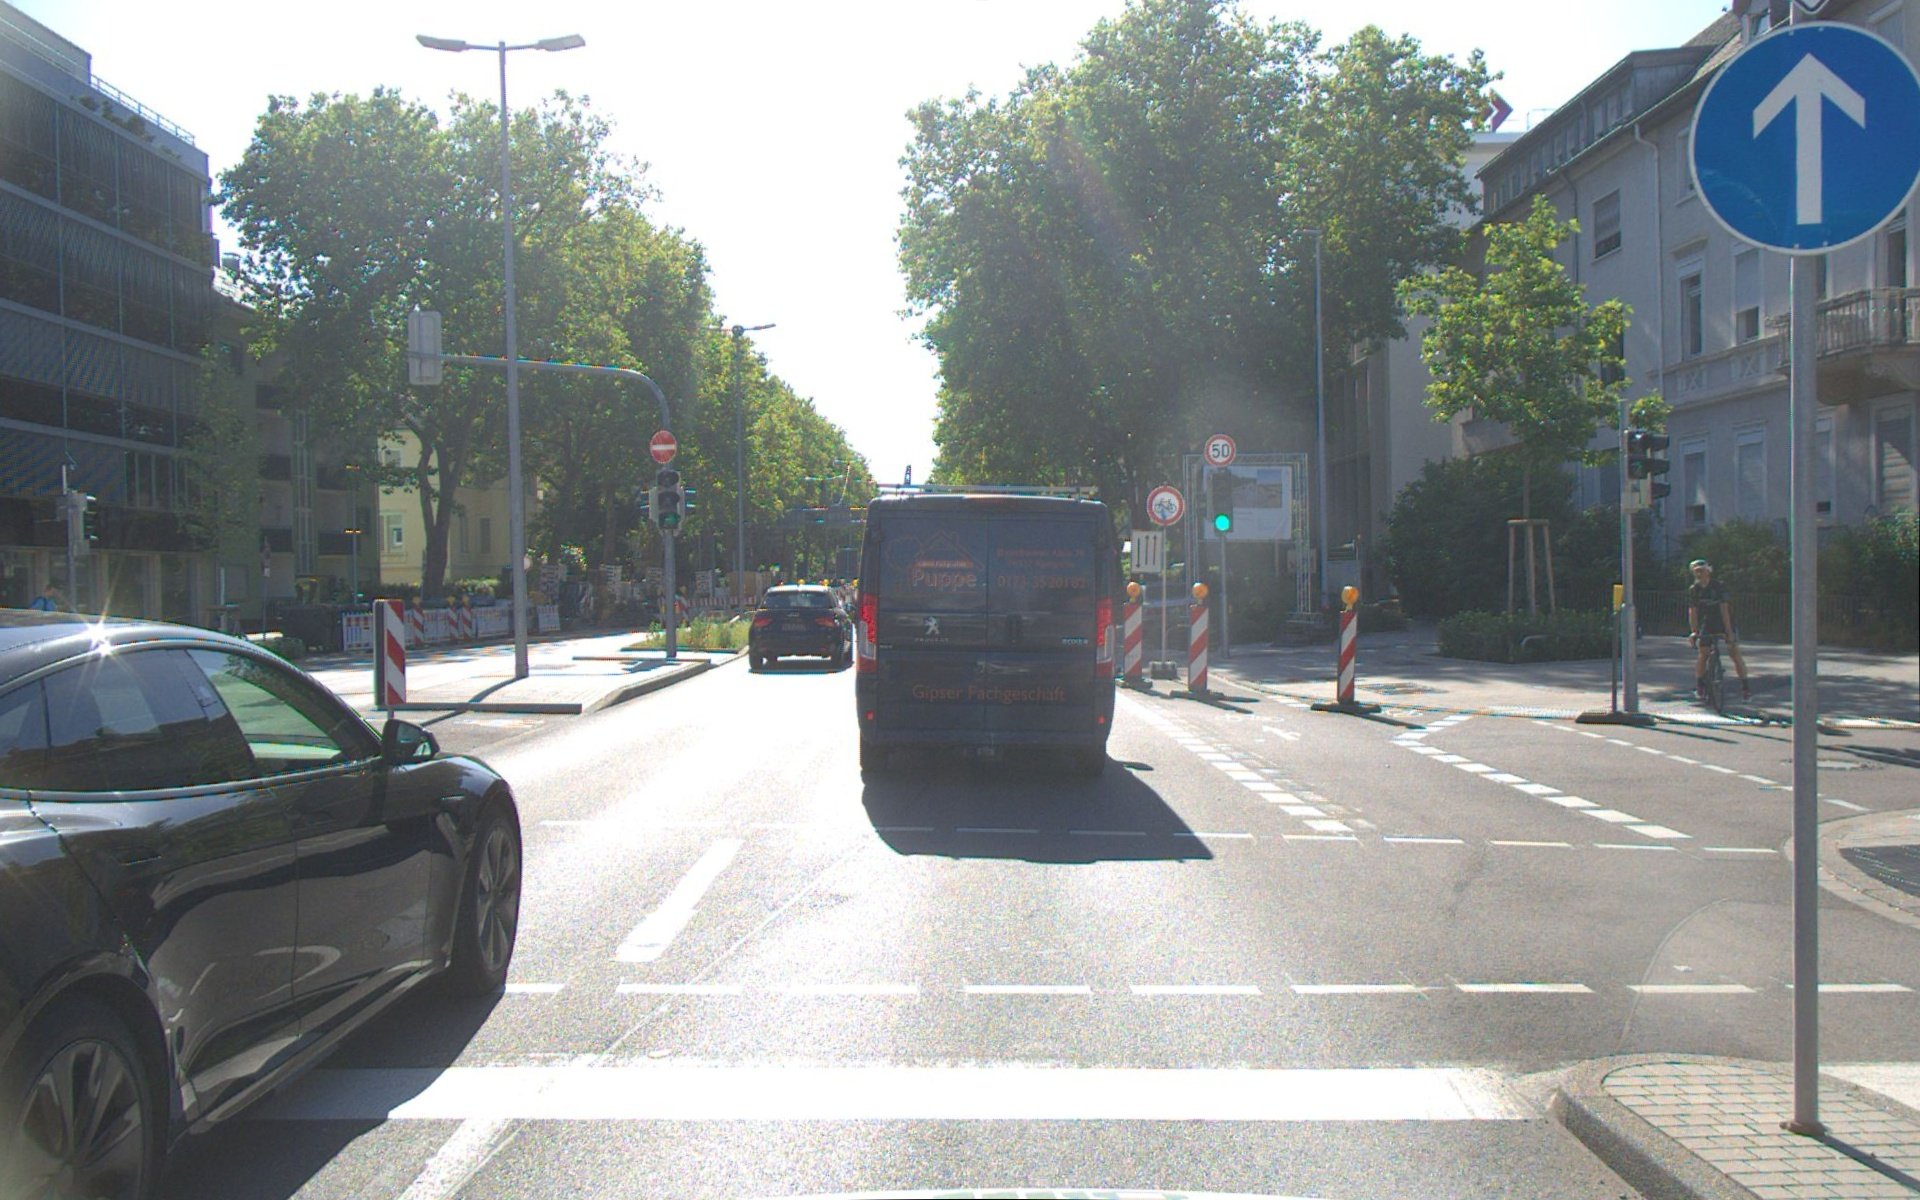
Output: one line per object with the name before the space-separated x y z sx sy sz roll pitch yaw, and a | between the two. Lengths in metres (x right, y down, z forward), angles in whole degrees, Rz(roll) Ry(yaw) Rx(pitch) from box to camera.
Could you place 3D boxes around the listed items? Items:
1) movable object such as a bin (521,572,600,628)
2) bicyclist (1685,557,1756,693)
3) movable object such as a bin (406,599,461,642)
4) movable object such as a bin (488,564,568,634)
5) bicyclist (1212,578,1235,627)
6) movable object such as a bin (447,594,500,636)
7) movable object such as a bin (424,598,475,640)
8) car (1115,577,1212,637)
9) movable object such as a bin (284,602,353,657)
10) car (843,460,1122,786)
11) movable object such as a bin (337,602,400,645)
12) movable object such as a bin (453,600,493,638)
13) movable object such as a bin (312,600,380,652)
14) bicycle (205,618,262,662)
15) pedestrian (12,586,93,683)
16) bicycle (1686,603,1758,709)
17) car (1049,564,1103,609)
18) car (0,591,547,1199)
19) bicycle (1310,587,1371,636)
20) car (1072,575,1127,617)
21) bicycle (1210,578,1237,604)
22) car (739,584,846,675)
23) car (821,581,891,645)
movable object such as a bin | -17.842 -0.028 74.078 1.952 2.318 5.600 -2 0 2
bicyclist | 8.763 0.277 19.074 0.709 1.525 0.871 -1 1 24
movable object such as a bin | -17.302 0.667 54.370 1.381 1.361 1.157 -1 1 1
movable object such as a bin | -17.667 -0.068 67.898 2.104 2.753 5.351 -1 1 -4
bicyclist | 10.180 0.092 63.894 0.709 1.852 1.071 -1 1 0
movable object such as a bin | -17.541 0.523 59.610 1.610 1.447 1.252 -1 1 -26
movable object such as a bin | -17.126 0.638 55.459 1.381 1.361 0.936 -1 0 1
car | 5.442 0.147 44.804 1.815 1.505 4.940 -1 1 -2
movable object such as a bin | -17.452 0.794 45.023 1.091 1.412 1.856 -1 1 1
car | 0.122 0.124 14.229 2.053 2.396 3.932 0 1 -2
movable object such as a bin | -17.553 0.689 49.096 1.365 1.224 1.242 -1 0 2
movable object such as a bin | -17.013 0.652 57.797 0.959 1.293 1.540 -1 1 -1
movable object such as a bin | -17.571 0.732 47.357 1.189 1.412 1.856 -1 1 1
bicycle | -18.639 1.018 42.470 0.614 1.055 1.879 -1 1 0
pedestrian | -16.792 0.634 30.632 0.846 1.740 1.013 -1 1 6
bicycle | 8.769 0.619 19.077 0.674 1.117 1.687 -1 1 22
car | 5.266 -0.625 75.705 1.985 1.980 5.272 -1 1 -1
car | -2.595 0.739 4.295 1.886 1.436 4.625 -1 -1 0
bicycle | 8.324 0.238 36.133 0.577 1.022 2.125 0 1 34
car | 5.369 -0.167 64.030 1.727 1.534 4.250 -1 1 -1
bicycle | 10.171 -0.350 63.854 0.766 0.983 1.823 -1 1 1
car | -2.986 0.483 30.164 1.711 1.431 3.999 0 2 -2
car | -2.631 0.304 42.540 1.711 1.431 3.999 0 2 -2
